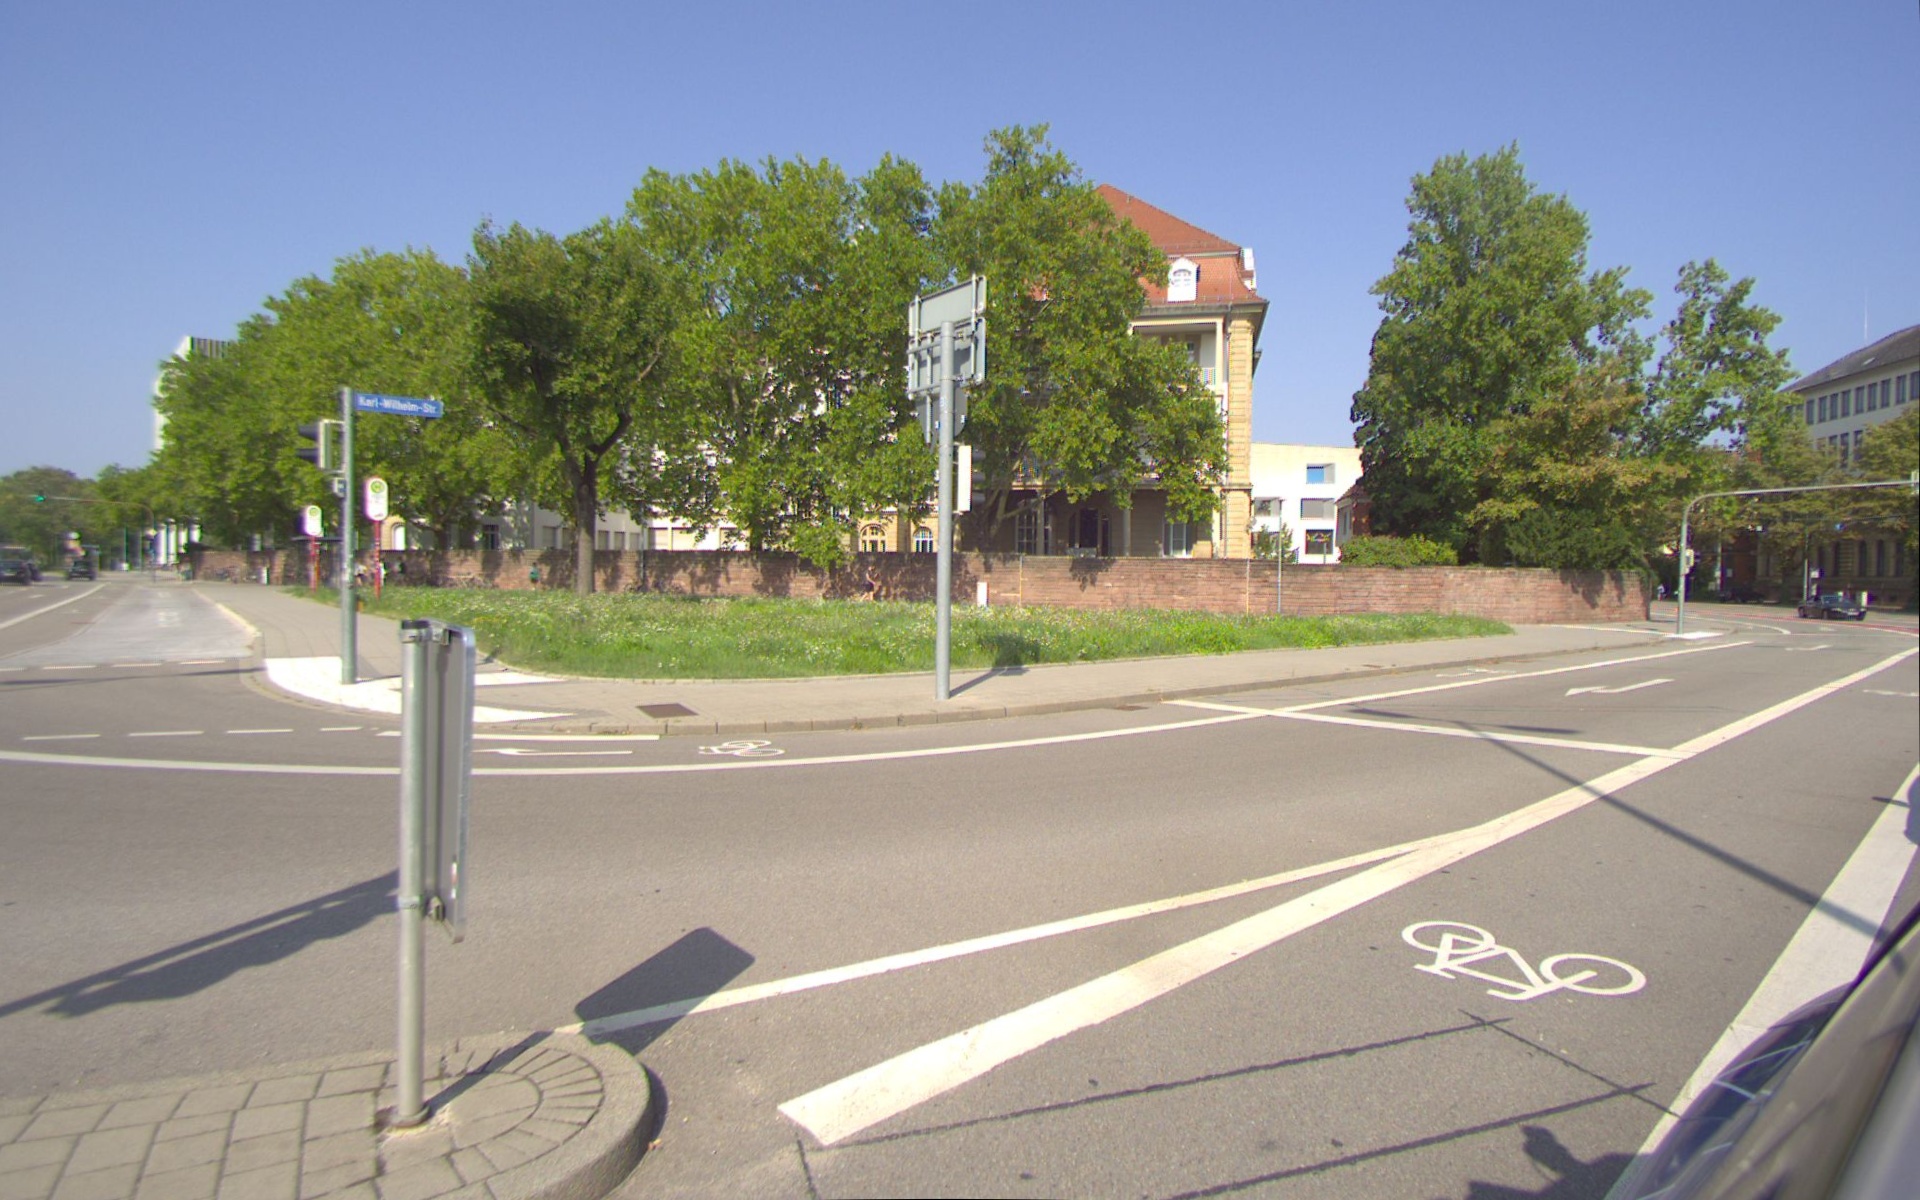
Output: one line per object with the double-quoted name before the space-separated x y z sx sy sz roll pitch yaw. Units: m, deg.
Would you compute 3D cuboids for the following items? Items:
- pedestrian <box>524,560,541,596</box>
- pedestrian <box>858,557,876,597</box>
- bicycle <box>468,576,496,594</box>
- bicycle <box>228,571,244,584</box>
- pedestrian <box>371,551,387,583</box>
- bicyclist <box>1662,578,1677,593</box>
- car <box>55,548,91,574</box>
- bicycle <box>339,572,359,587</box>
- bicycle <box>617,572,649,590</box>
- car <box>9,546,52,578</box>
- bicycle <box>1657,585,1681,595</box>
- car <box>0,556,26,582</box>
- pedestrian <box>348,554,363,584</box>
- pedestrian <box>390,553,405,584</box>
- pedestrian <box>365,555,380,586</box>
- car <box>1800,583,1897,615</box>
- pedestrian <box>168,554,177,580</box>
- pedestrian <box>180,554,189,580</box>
"pedestrian" -20.537 -1.057 48.650 0.588 1.672 0.479 -1 -1 27
"pedestrian" -3.886 -0.958 42.137 0.586 1.672 0.480 -1 -1 18
"bicycle" -24.614 -0.774 52.093 1.535 0.845 0.430 2 2 27
"bicycle" -49.654 -1.544 69.376 1.541 0.845 0.428 2 2 36
"pedestrian" -30.409 -1.707 52.955 0.589 1.672 0.514 -1 -1 31
"bicyclist" 69.232 -1.420 98.745 0.653 1.356 0.926 1 1 -7
"car" -76.640 -3.324 87.463 3.984 2.039 1.891 -1 0 42
"bicycle" -35.489 -1.204 58.785 1.540 0.845 0.428 2 2 36
"bicycle" -15.388 -0.898 47.667 1.533 0.845 0.430 2 2 24
"car" -65.013 -2.613 70.760 3.984 2.039 1.891 -1 0 42
"bicycle" 69.232 -0.981 98.785 0.653 0.968 2.091 1 2 -7
"car" -59.665 -1.955 63.404 1.683 1.593 3.992 -1 2 -43
"pedestrian" -32.622 -1.666 54.601 0.498 1.591 0.529 -1 -1 29
"pedestrian" -29.904 -1.668 53.834 0.589 1.672 0.478 -1 -1 31
"pedestrian" -32.215 -1.625 55.460 0.589 1.672 0.478 -1 -1 31
"car" 49.499 -0.103 56.508 1.966 1.629 4.239 -1 2 7
"pedestrian" -53.985 -2.252 69.379 0.478 1.762 0.504 0 -1 -43
"pedestrian" -53.473 -2.260 69.778 0.478 1.762 0.504 0 -1 -43
